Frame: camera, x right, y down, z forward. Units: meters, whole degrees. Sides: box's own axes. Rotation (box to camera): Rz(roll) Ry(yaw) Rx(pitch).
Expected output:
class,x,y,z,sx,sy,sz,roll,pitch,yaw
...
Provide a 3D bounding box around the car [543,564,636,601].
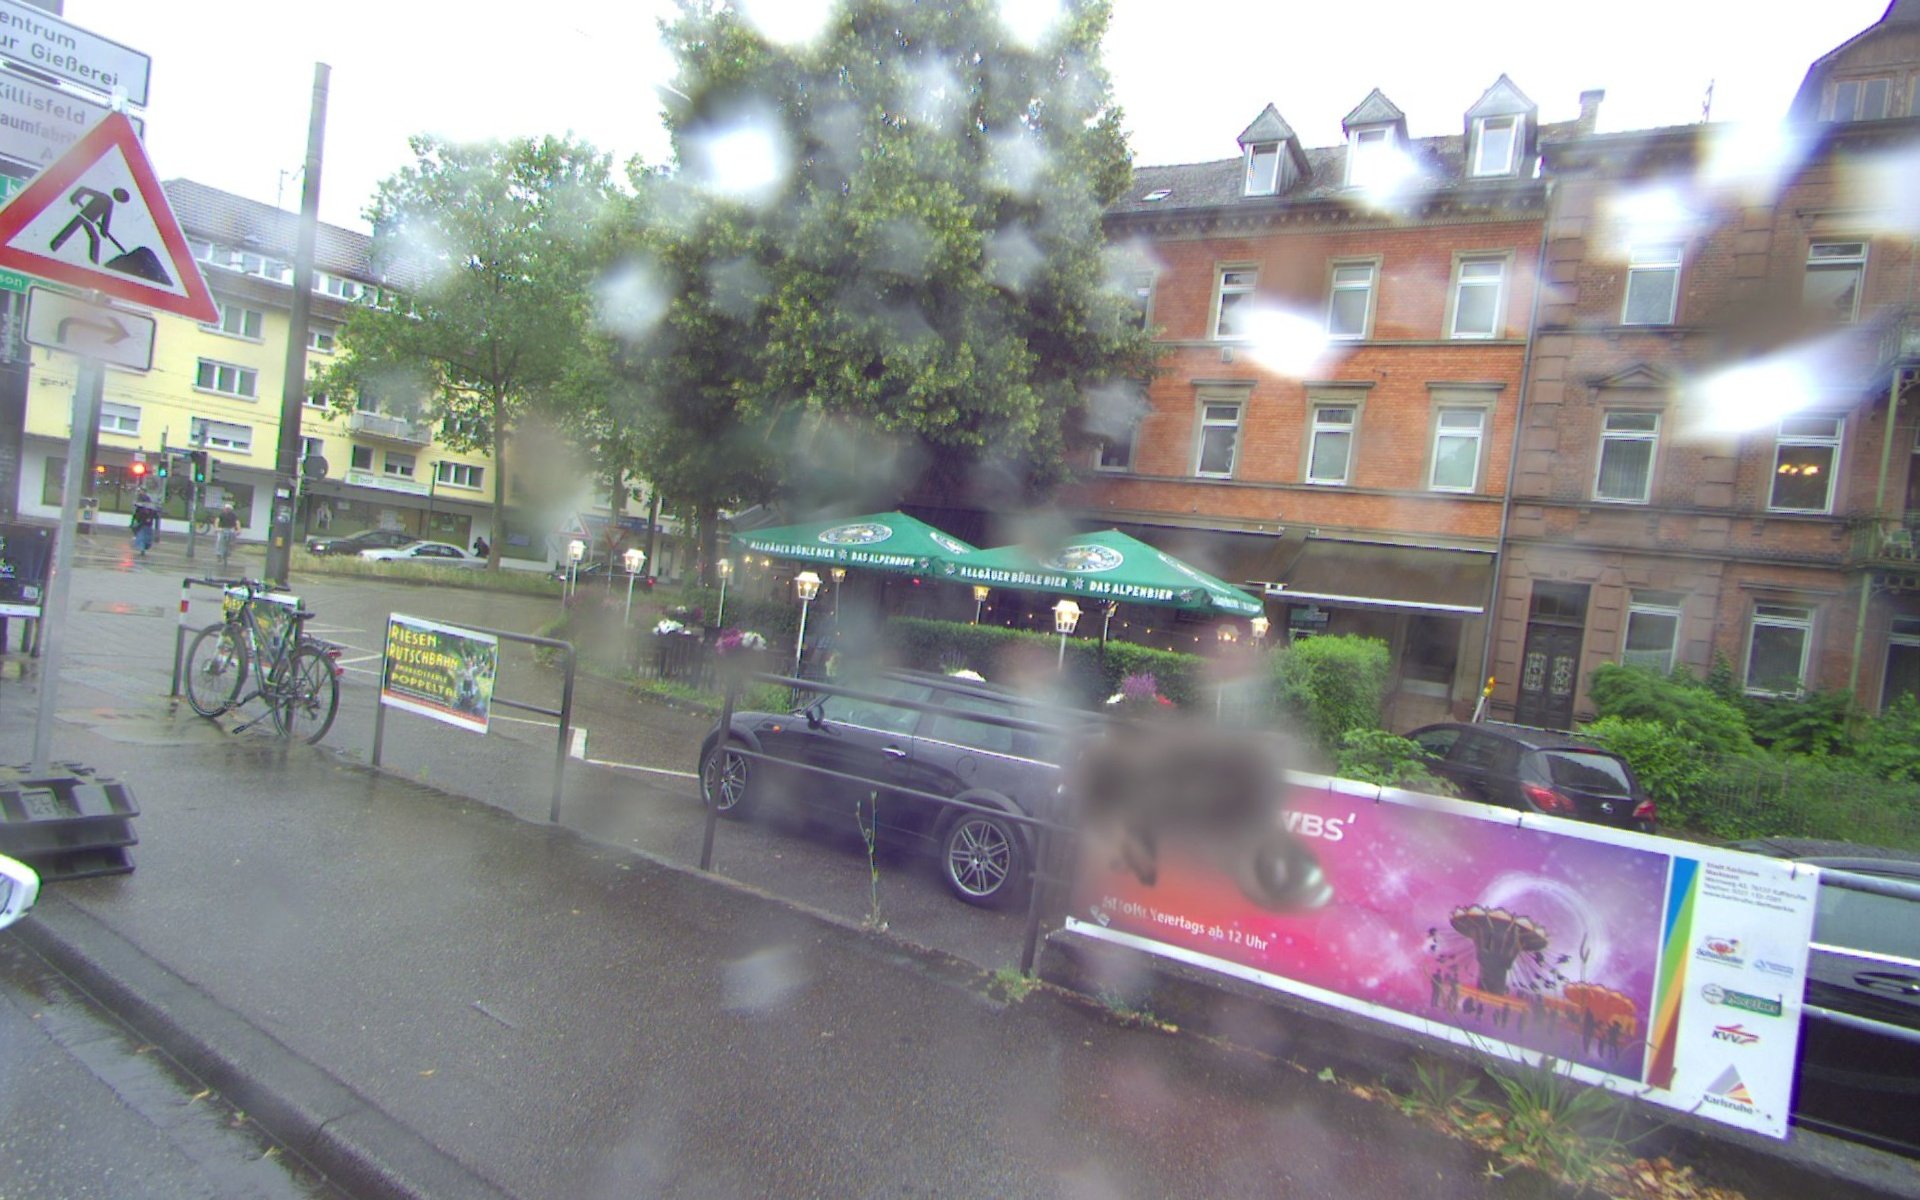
class,x,y,z,sx,sy,sz,roll,pitch,yaw
car,-15.535,-0.711,42.280,1.227,1.095,3.531,7,-2,34

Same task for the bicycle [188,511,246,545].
class,x,y,z,sx,sy,sz,roll,pitch,yaw
bicycle,-35.601,-3.438,48.203,2.096,1.277,0.525,8,0,-44

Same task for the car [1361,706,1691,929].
class,x,y,z,sx,sy,sz,roll,pitch,yaw
car,6.524,2.410,12.213,1.962,1.733,4.004,7,-1,7

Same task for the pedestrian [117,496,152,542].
class,x,y,z,sx,sy,sz,roll,pitch,yaw
pedestrian,-29.300,-2.859,35.715,0.542,1.518,0.623,7,0,0

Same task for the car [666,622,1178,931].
class,x,y,z,sx,sy,sz,roll,pitch,yaw
car,-0.352,1.214,7.807,3.468,1.457,1.710,8,-3,34

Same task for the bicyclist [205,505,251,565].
class,x,y,z,sx,sy,sz,roll,pitch,yaw
bicyclist,-21.302,-1.891,29.272,0.875,1.602,0.850,7,-1,-41

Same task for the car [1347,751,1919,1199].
class,x,y,z,sx,sy,sz,roll,pitch,yaw
car,4.196,1.822,4.965,3.907,1.416,1.706,7,-1,32

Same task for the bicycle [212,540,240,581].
class,x,y,z,sx,sy,sz,roll,pitch,yaw
bicycle,-21.379,-1.160,29.286,0.457,1.040,1.880,7,1,-40

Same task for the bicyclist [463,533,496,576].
class,x,y,z,sx,sy,sz,roll,pitch,yaw
bicyclist,-19.971,-1.874,41.847,0.699,1.634,0.815,7,0,31

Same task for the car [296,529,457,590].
class,x,y,z,sx,sy,sz,roll,pitch,yaw
car,-22.444,-1.523,38.830,1.975,1.661,4.928,3,-4,43

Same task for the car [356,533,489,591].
class,x,y,z,sx,sy,sz,roll,pitch,yaw
car,-19.864,-1.387,37.247,3.926,1.508,1.784,8,0,-43

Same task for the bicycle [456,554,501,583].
class,x,y,z,sx,sy,sz,roll,pitch,yaw
bicycle,-20.032,-1.304,41.861,0.415,1.013,1.640,7,-1,32

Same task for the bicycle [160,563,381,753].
class,x,y,z,sx,sy,sz,roll,pitch,yaw
bicycle,-5.178,0.402,7.504,1.984,1.119,0.515,7,-3,33

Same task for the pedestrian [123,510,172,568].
class,x,y,z,sx,sy,sz,roll,pitch,yaw
pedestrian,-23.574,-1.758,29.213,0.612,1.552,0.816,7,0,-6

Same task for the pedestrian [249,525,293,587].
class,x,y,z,sx,sy,sz,roll,pitch,yaw
pedestrian,-20.393,-1.295,29.789,0.899,1.689,1.011,7,-1,-34
